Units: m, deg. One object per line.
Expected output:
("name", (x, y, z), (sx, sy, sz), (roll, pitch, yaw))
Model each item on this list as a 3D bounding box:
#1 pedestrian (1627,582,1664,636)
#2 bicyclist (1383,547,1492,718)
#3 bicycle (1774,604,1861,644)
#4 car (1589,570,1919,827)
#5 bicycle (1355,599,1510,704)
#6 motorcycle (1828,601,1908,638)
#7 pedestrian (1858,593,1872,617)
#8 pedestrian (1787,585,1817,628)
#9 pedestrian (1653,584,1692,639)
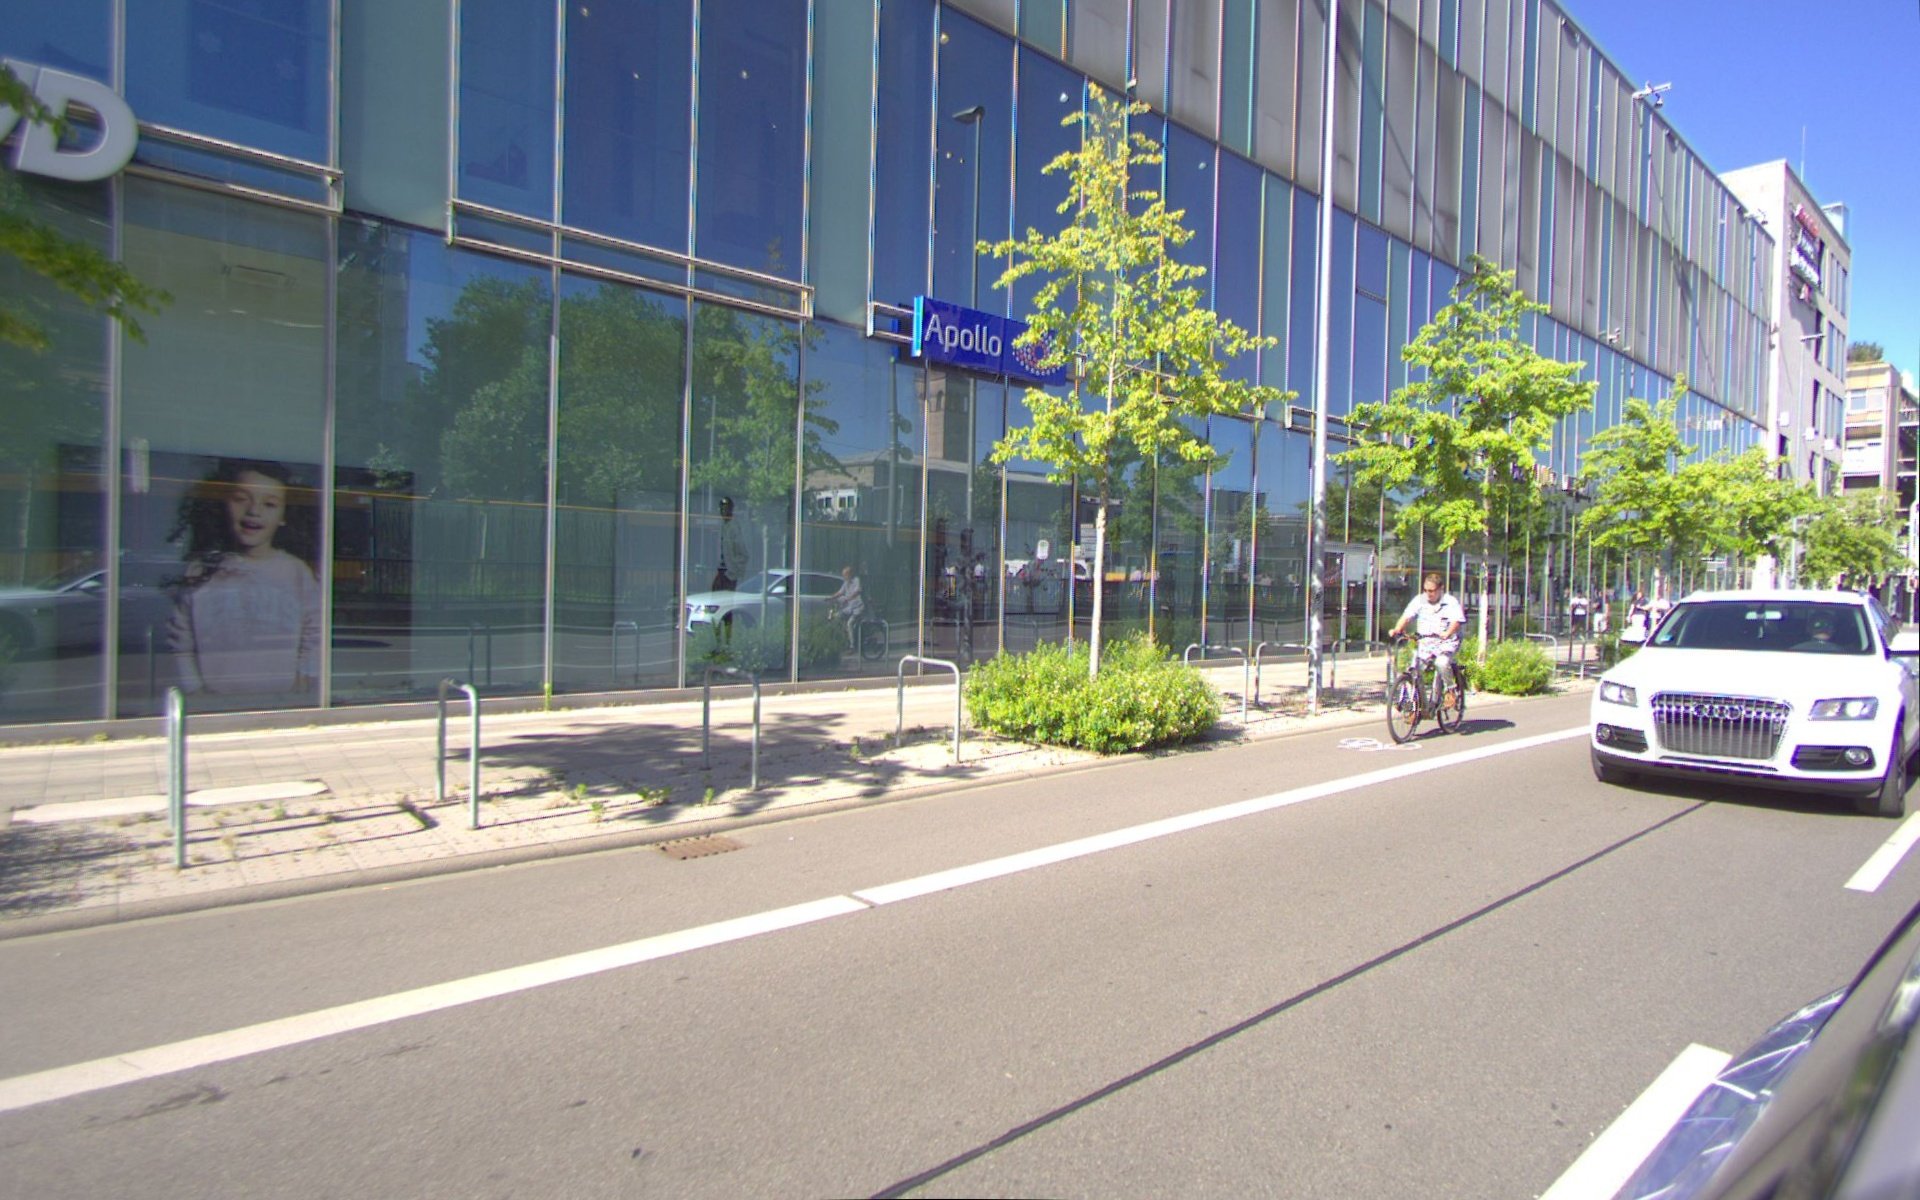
("pedestrian", (21.858, 0.278, 32.261), (0.885, 1.678, 0.707), (1, 3, -44))
("bicyclist", (5.193, 0.321, 11.003), (0.981, 1.758, 0.725), (0, 1, -44))
("bicycle", (29.574, 0.795, 34.935), (0.932, 1.220, 2.094), (1, 3, -33))
("car", (7.070, 0.609, 8.594), (4.337, 1.633, 1.822), (0, 1, -42))
("bicycle", (5.167, 0.505, 10.978), (2.294, 0.996, 0.729), (0, 2, -44))
("motorcycle", (36.288, 0.771, 40.463), (0.886, 1.340, 2.197), (1, 2, -35))
("pedestrian", (62.343, 0.342, 69.727), (0.660, 1.632, 0.519), (5, 3, 42))
("pedestrian", (36.586, 0.278, 43.969), (1.047, 1.823, 0.730), (1, 3, -40))
("pedestrian", (22.061, 0.345, 31.346), (0.885, 1.679, 0.821), (0, 1, -44))
